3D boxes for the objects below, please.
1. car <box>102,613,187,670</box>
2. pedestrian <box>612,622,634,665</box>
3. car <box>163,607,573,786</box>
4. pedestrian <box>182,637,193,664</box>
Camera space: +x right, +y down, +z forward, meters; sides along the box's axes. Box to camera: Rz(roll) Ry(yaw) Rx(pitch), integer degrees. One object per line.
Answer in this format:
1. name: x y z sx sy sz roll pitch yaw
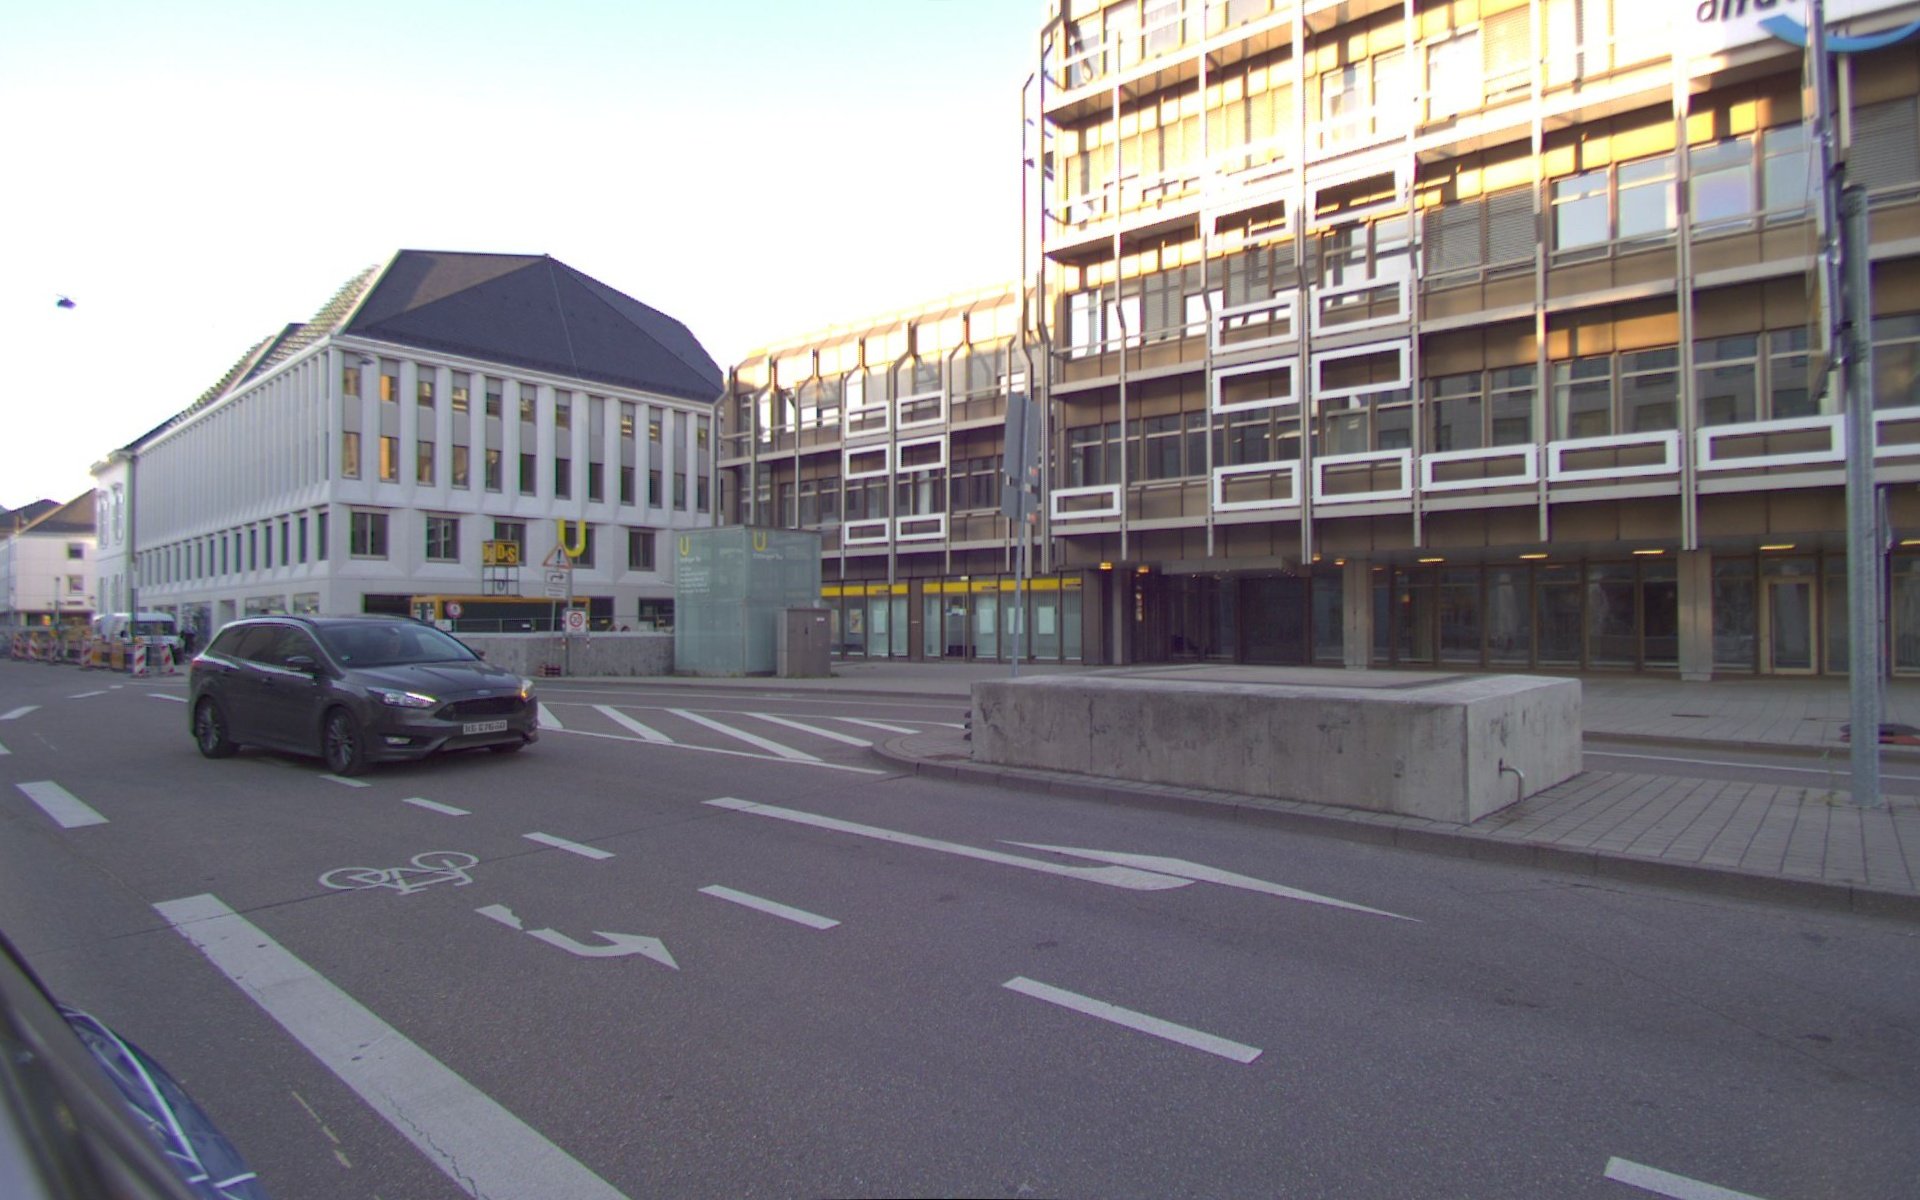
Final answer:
1. car: -38.839 1.957 48.160 6.047 2.575 2.114 -2 -3 41
2. pedestrian: -12.032 1.557 36.120 0.555 1.508 0.525 -2 -3 41
3. car: -6.110 0.868 10.308 4.364 1.473 1.745 -2 -1 31
4. pedestrian: -38.113 2.475 49.939 0.338 1.326 0.346 -2 -3 41
